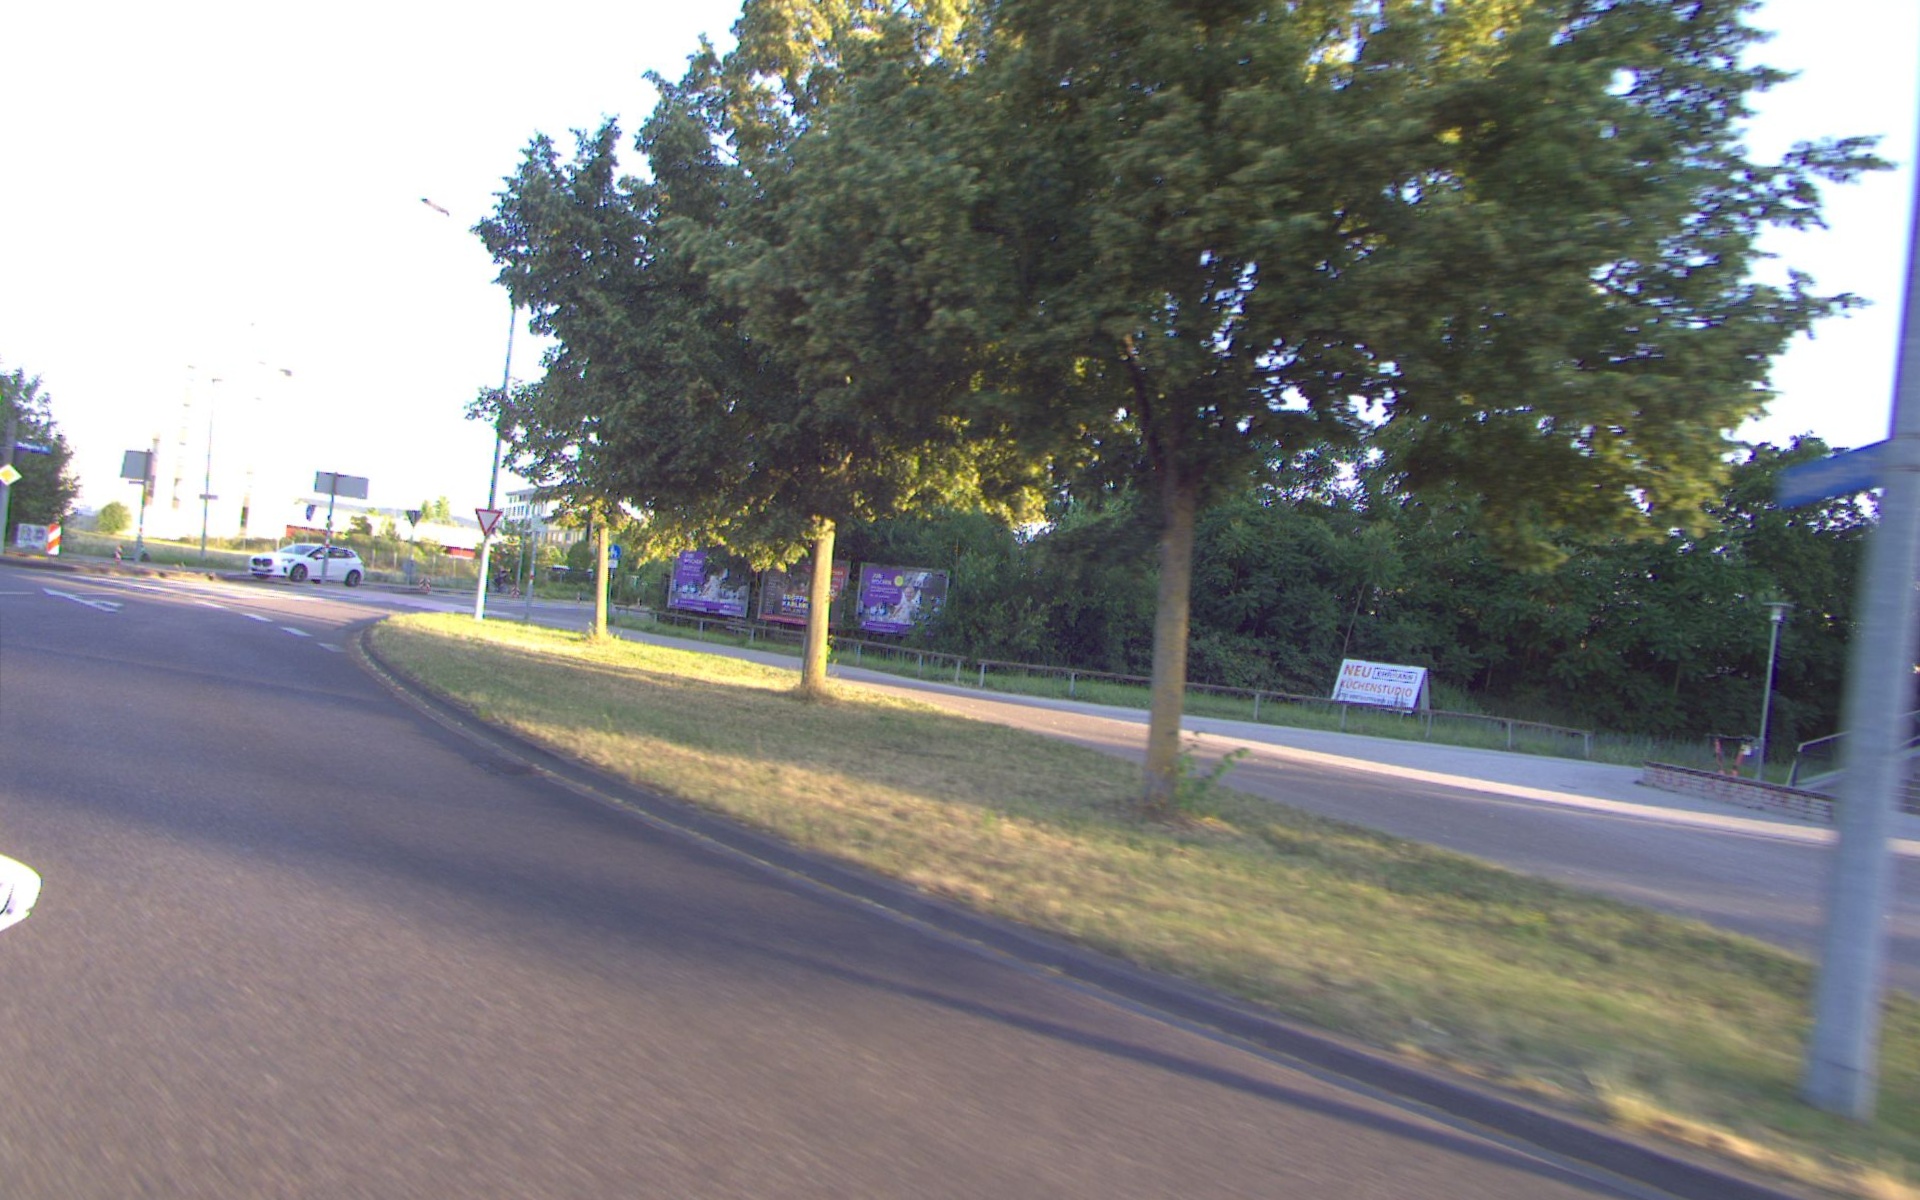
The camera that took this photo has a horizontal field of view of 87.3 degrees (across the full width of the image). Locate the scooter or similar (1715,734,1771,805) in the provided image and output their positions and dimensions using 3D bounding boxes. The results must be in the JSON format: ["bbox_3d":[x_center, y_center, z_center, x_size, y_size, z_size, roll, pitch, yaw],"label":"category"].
[{"bbox_3d":[15.691,3.371,20.186,0.360,1.234,1.577,6,-1,22],"label":"scooter or similar"}]

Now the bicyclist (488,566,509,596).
[{"bbox_3d":[-28.172,-1.156,61.371,0.828,1.764,0.537,6,-1,1],"label":"bicyclist"}]

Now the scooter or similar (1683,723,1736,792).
[{"bbox_3d":[15.159,3.162,20.378,0.360,1.234,1.577,6,-1,22],"label":"scooter or similar"}]

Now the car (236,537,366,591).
[{"bbox_3d":[-25.803,-1.372,39.576,1.854,1.576,4.100,5,-2,11],"label":"car"}]

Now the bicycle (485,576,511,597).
[{"bbox_3d":[-28.228,-0.807,61.413,1.347,1.102,0.280,6,-1,1],"label":"bicycle"}]

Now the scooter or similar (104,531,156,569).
[{"bbox_3d":[-29.935,-1.785,36.296,1.358,1.177,0.442,7,-1,-2],"label":"scooter or similar"}]
